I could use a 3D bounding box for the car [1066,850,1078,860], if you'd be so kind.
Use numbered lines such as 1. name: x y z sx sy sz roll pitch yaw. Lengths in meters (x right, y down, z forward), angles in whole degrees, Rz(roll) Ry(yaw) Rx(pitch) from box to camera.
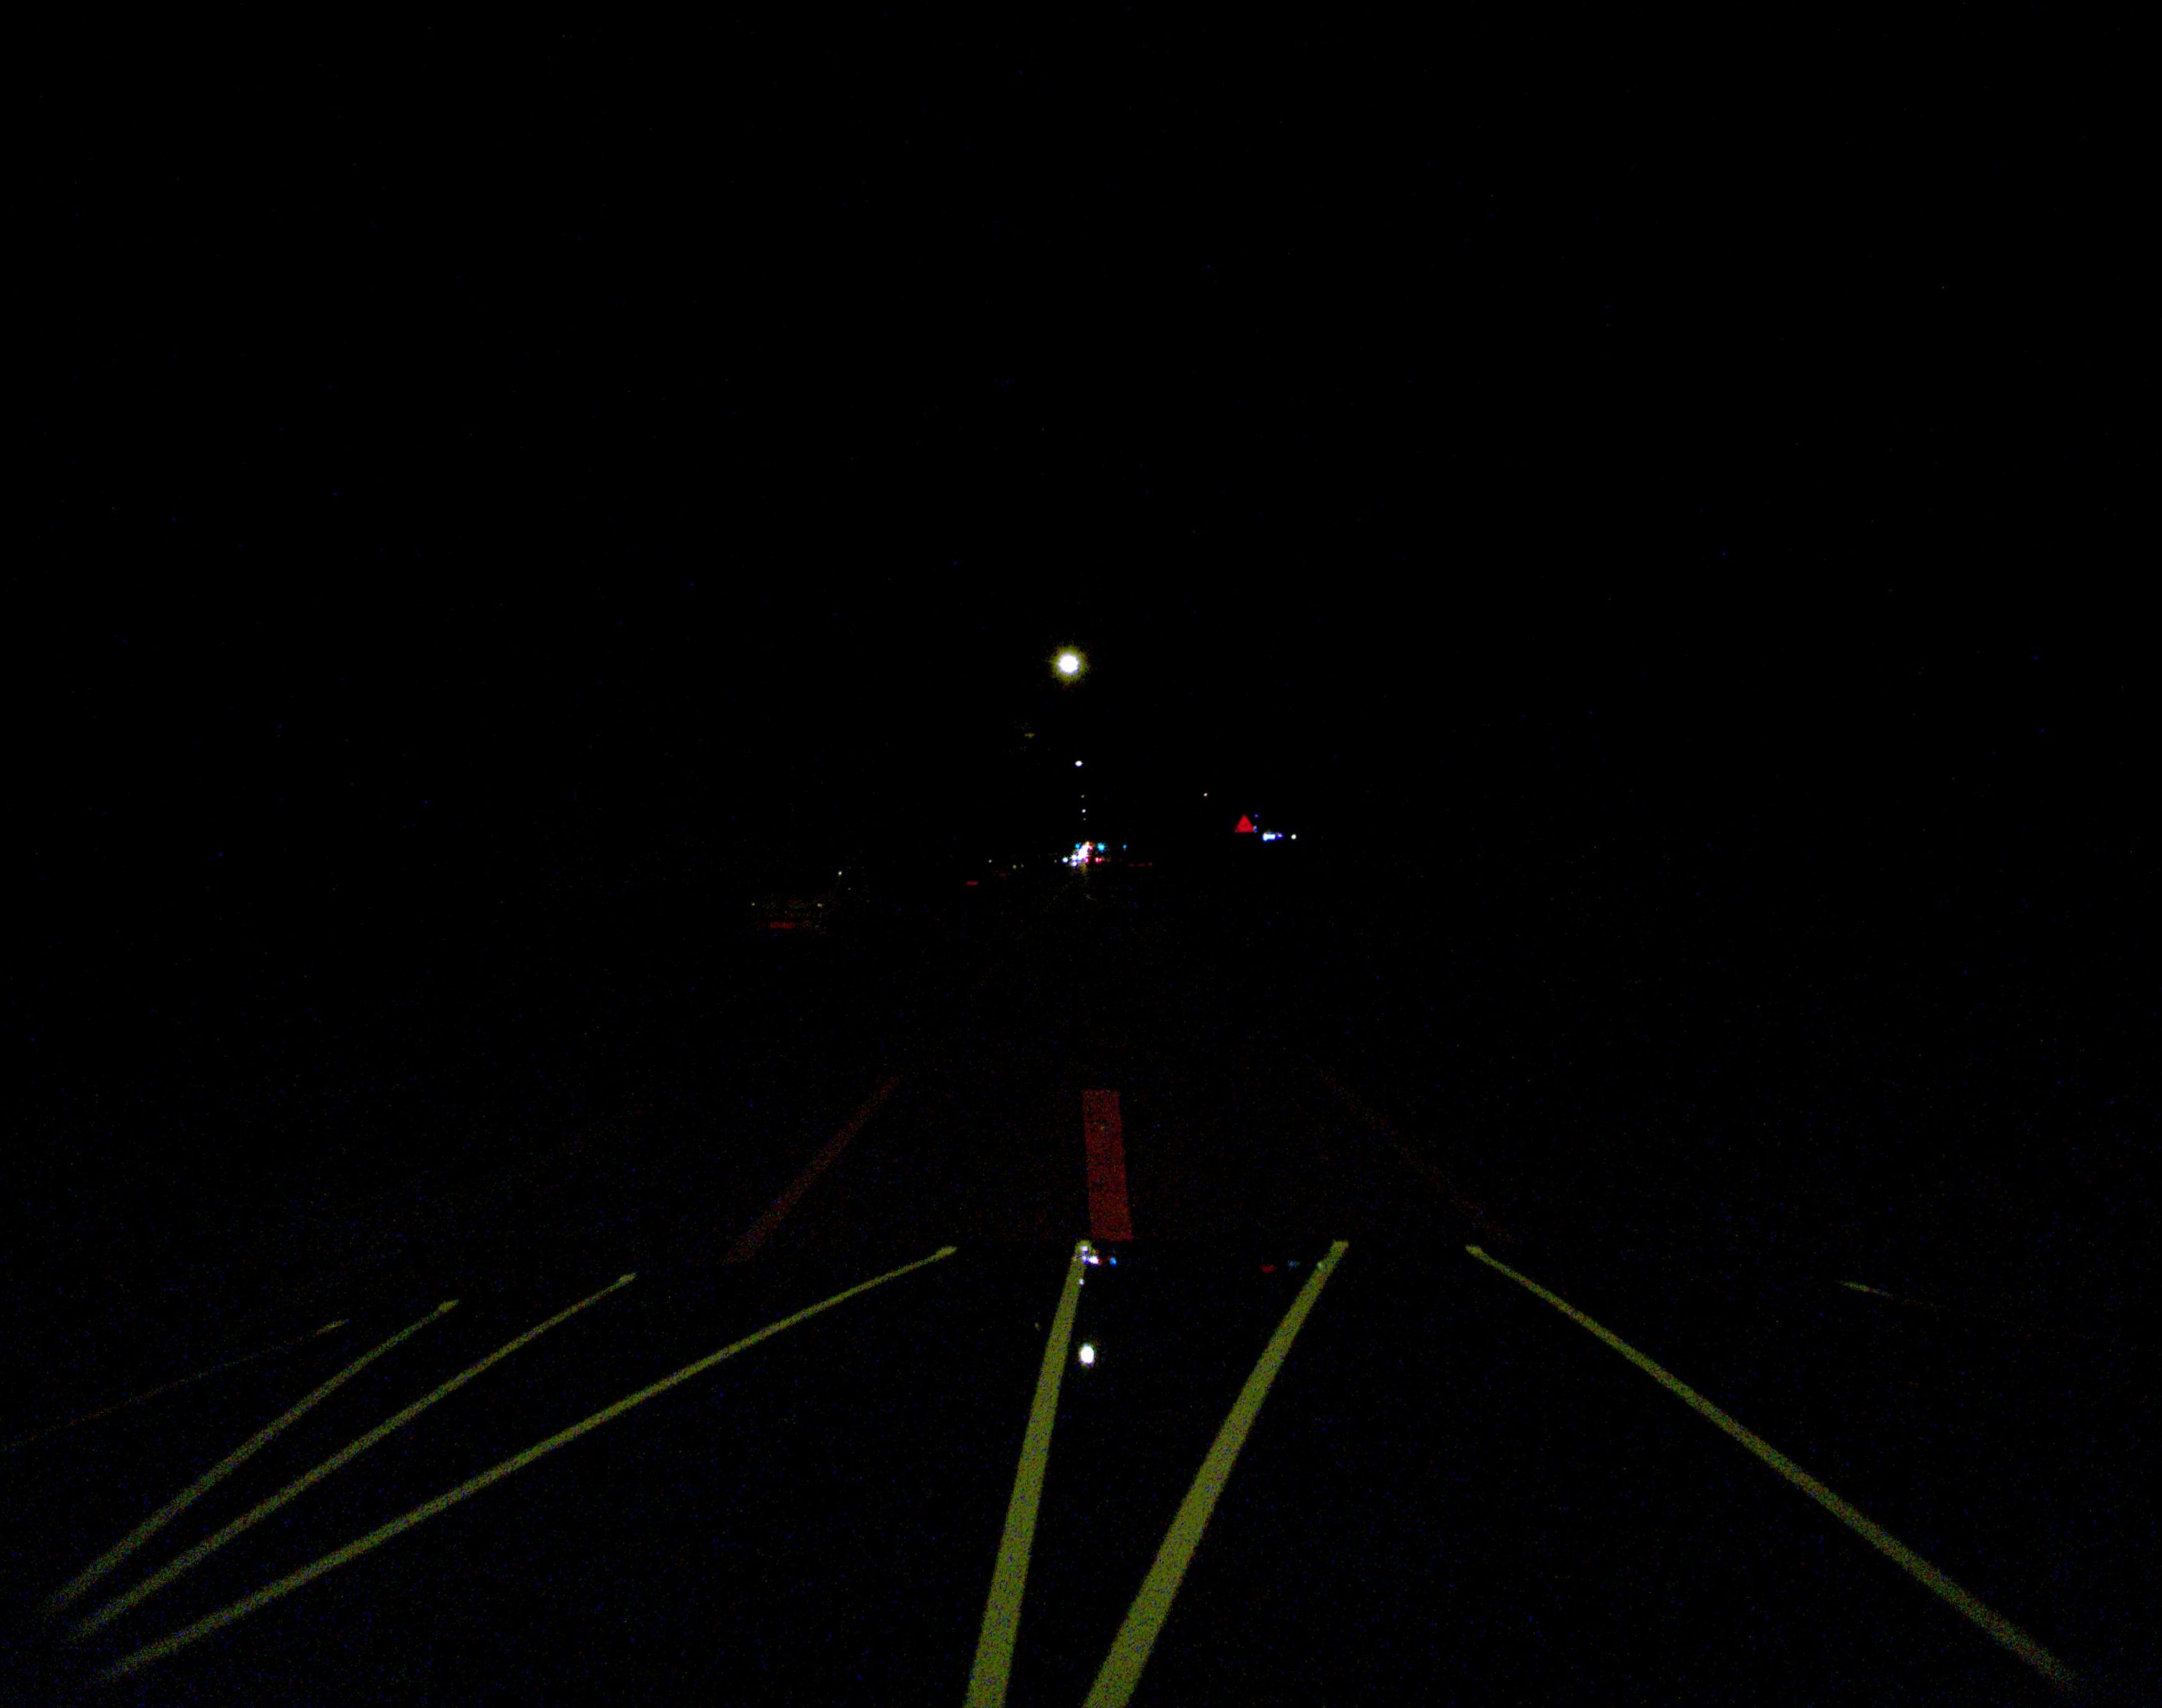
1. car: -1.572 0.158 134.579 1.998 1.718 3.803 -2 1 1

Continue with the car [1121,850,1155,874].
1. car: 3.887 0.514 52.077 1.998 1.477 3.999 -3 1 1

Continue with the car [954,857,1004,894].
1. car: -4.473 0.904 33.943 1.742 1.489 3.890 -1 0 -1

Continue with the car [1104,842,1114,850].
1. car: 5.646 -1.560 153.851 1.903 1.581 3.661 -2 1 2

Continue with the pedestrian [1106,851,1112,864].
1. pedestrian: 4.398 0.521 118.235 0.804 2.002 0.940 -2 1 1

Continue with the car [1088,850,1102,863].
1. car: 1.835 0.361 97.675 1.754 1.433 3.487 -2 -2 1

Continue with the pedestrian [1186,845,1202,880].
1. pedestrian: 5.785 0.434 38.973 0.673 1.750 0.500 -2 1 1

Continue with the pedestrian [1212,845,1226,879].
1. pedestrian: 7.172 0.424 39.431 0.565 1.750 0.500 -2 1 1

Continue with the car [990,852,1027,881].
1. car: -4.463 0.750 47.476 1.852 1.643 4.179 -2 0 0

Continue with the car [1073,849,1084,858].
1. car: -0.515 -0.097 157.428 1.998 1.740 3.999 -2 1 1

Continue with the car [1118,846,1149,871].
1. car: 3.904 0.311 57.257 1.998 1.772 3.999 -2 1 1

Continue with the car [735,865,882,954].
1. car: -5.240 1.007 15.080 1.611 1.500 3.486 0 0 1
